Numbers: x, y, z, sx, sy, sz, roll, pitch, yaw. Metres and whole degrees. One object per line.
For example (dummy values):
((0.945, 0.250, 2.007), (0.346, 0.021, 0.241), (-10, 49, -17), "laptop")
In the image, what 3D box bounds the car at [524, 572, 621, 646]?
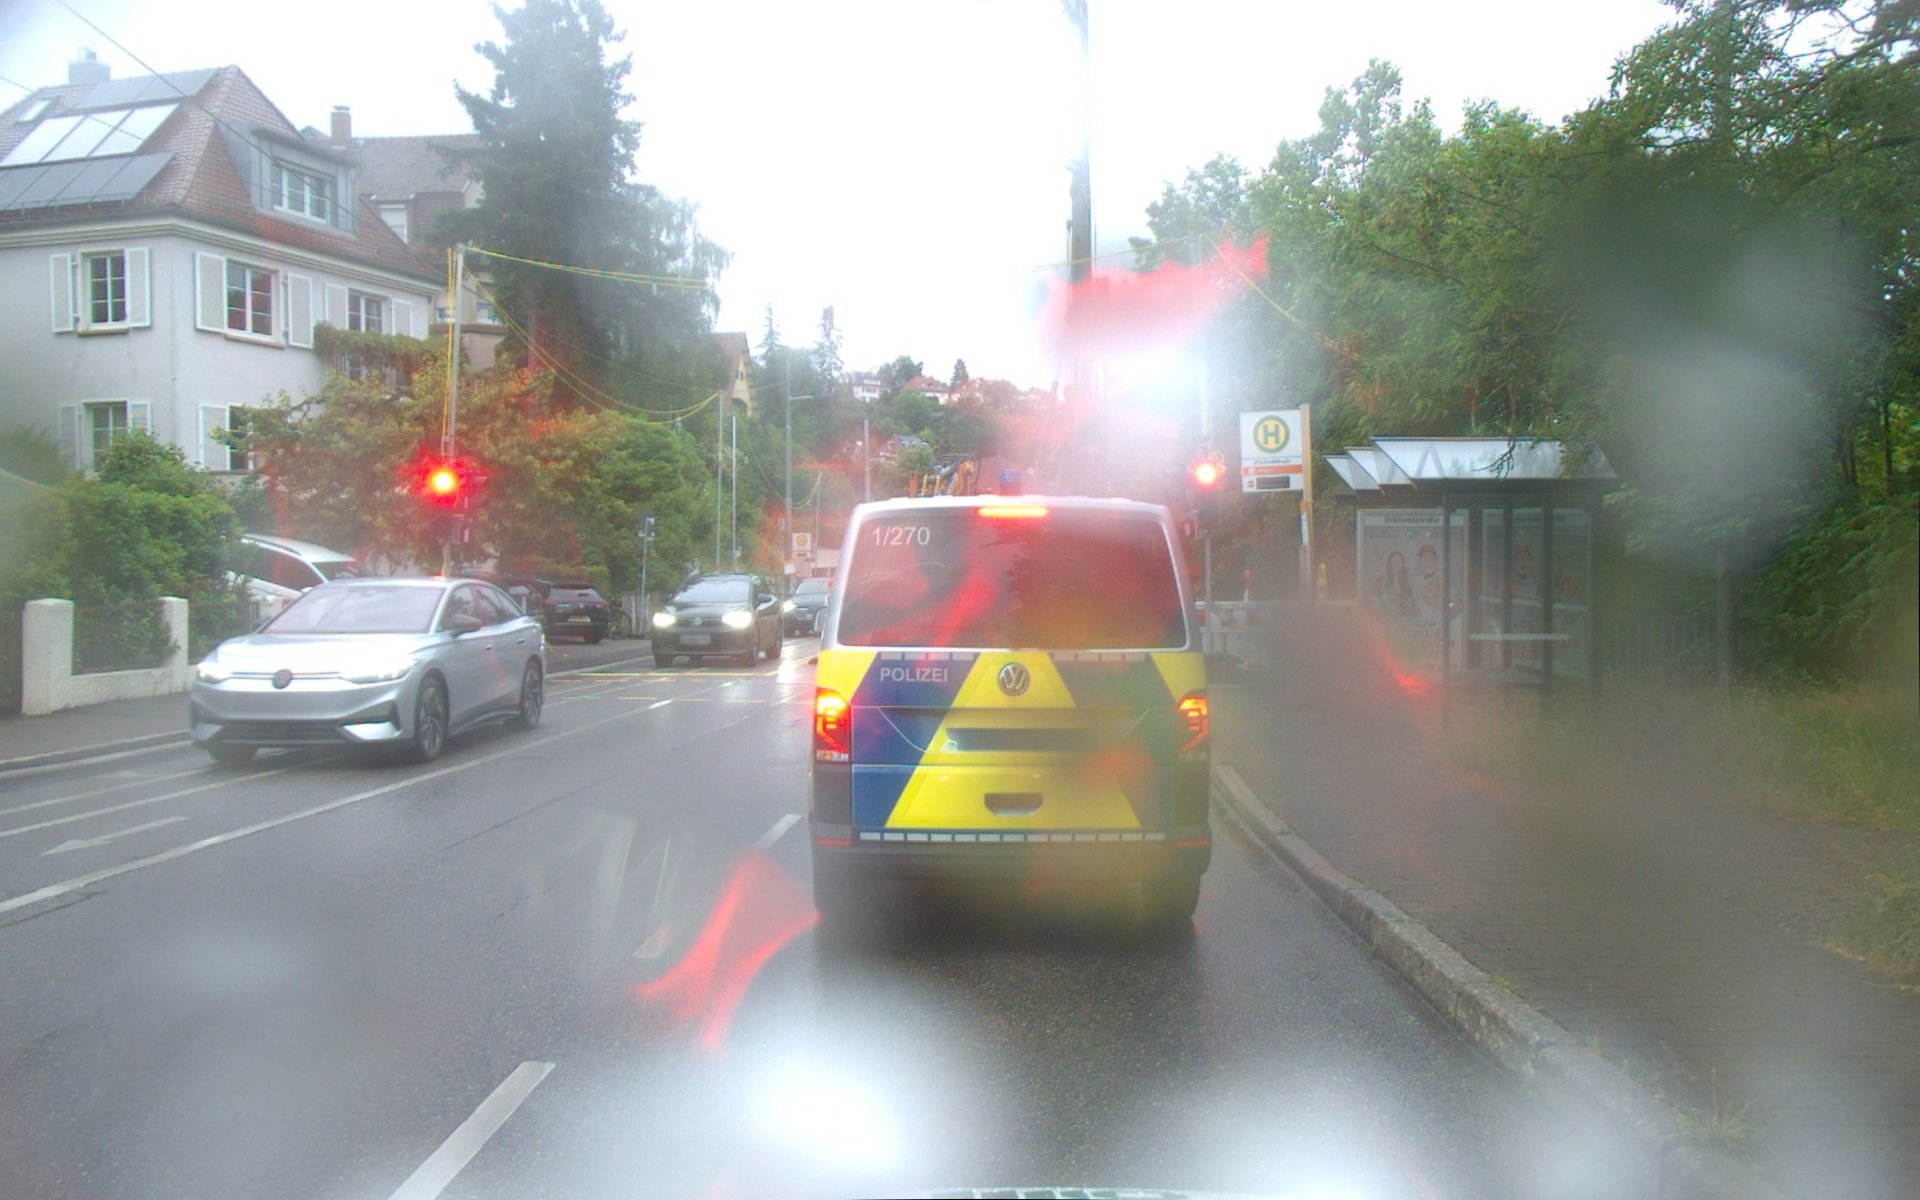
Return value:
((-8.913, 0.169, 37.824), (1.739, 1.512, 3.721), (1, 2, -20), "car")

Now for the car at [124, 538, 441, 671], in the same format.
((-11.211, 0.050, 27.485), (4.532, 2.042, 1.902), (1, 0, 11), "car")

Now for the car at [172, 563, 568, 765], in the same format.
((-5.158, 0.504, 15.266), (1.814, 1.554, 4.820), (0, 0, 1), "car")

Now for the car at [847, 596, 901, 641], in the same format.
((-3.050, 0.643, 59.380), (1.728, 1.488, 3.886), (1, 1, 0), "car")

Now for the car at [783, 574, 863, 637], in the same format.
((-3.906, 0.143, 47.812), (1.953, 1.703, 4.687), (1, 0, -1), "car")

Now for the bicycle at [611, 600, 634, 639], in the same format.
((-8.055, 0.460, 39.449), (0.455, 0.913, 1.628), (0, 0, -15), "bicycle")

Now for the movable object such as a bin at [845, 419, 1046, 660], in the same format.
((-0.168, -1.100, 31.633), (2.770, 4.250, 4.384), (1, 0, 14), "movable object such as a bin")

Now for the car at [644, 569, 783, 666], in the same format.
((-4.503, 0.300, 30.819), (1.828, 1.650, 4.165), (1, 0, 1), "car")

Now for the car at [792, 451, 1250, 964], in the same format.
((0.224, 0.431, 8.816), (1.855, 2.086, 3.999), (1, 0, -1), "car")
